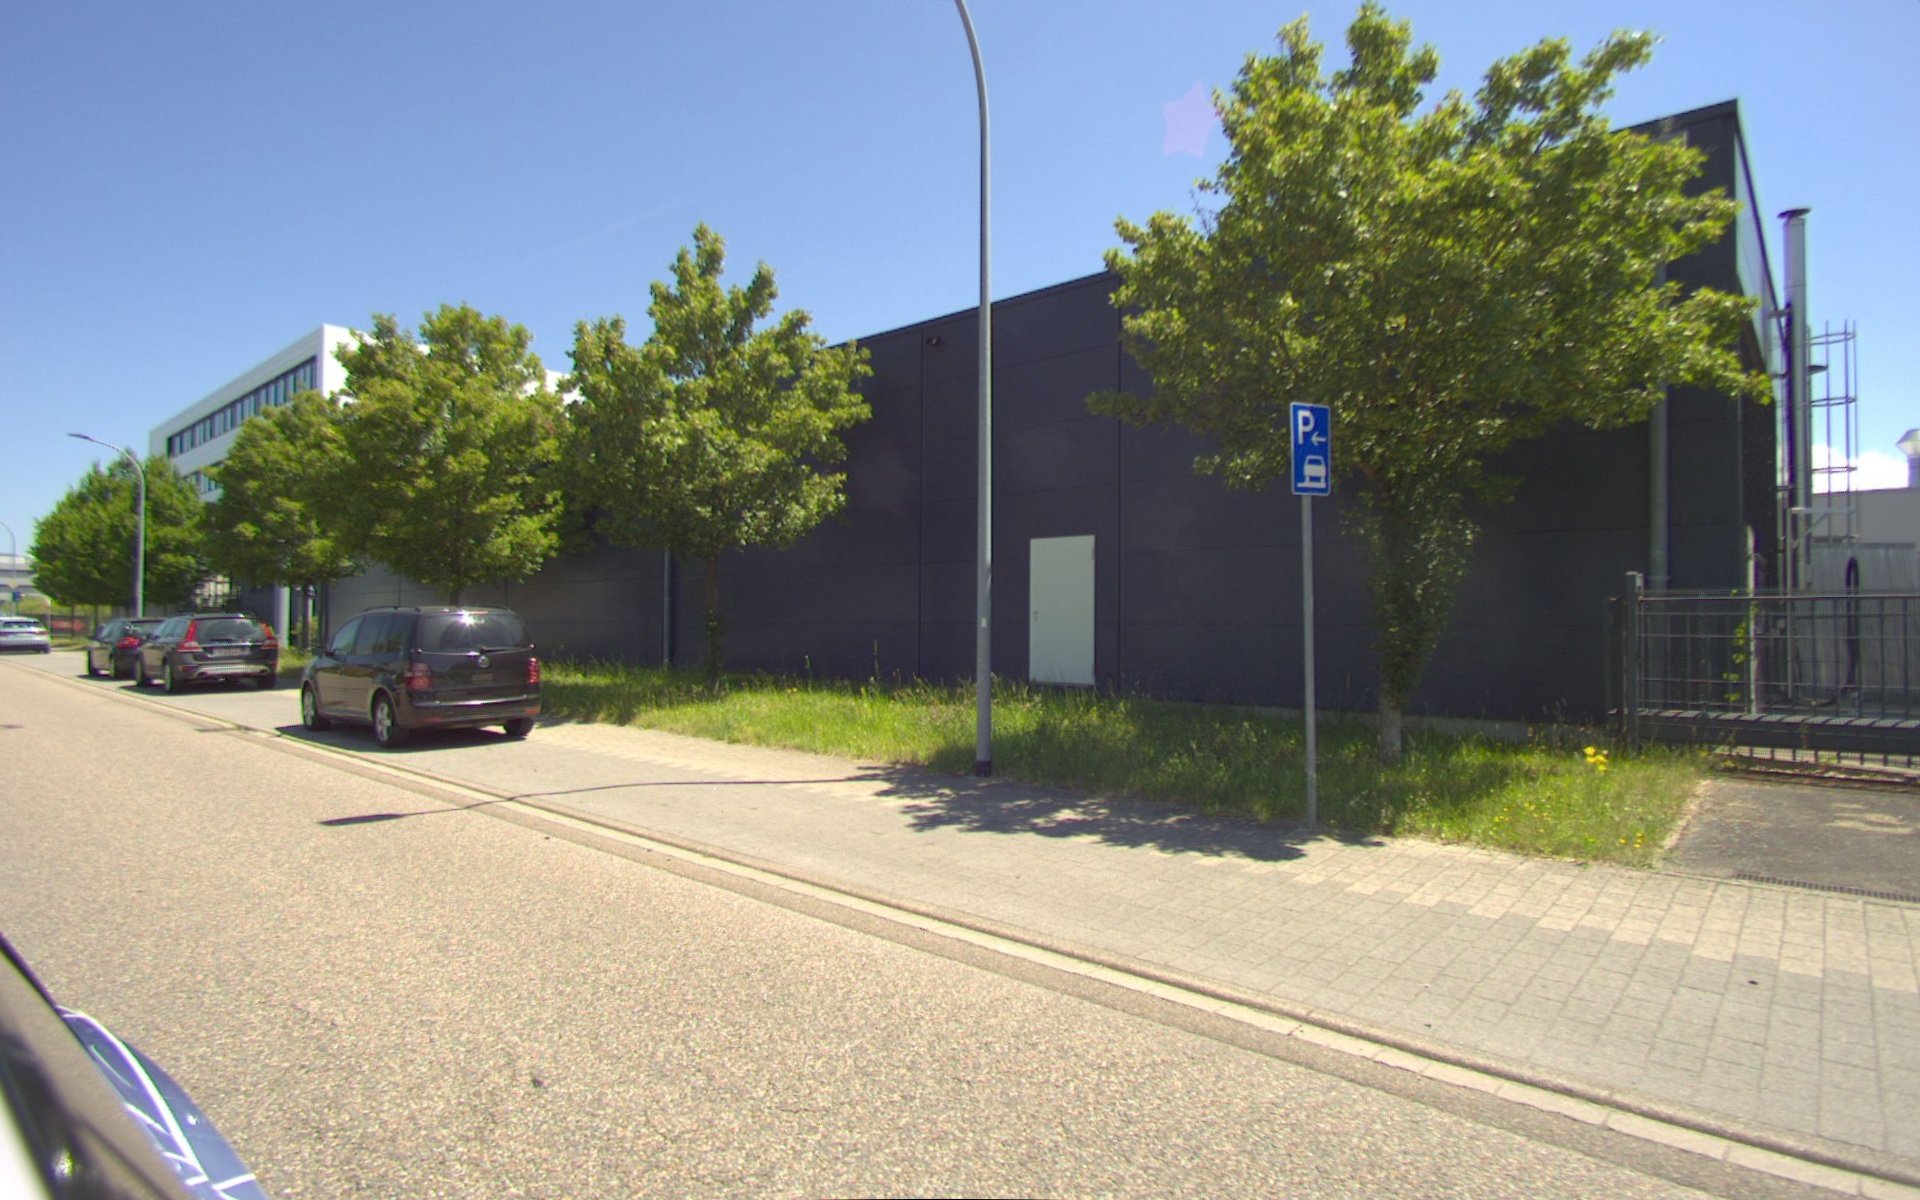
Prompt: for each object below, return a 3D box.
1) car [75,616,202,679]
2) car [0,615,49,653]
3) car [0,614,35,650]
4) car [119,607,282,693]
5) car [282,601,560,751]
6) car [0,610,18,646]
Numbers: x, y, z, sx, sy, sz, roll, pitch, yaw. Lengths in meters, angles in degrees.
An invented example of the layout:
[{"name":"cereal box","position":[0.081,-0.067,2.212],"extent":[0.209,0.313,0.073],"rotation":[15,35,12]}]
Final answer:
[{"name":"car","position":[-20.626,1.124,25.344],"extent":[4.198,1.442,1.752],"rotation":[-1,-1,41]},{"name":"car","position":[-37.701,1.323,40.258],"extent":[3.939,1.442,1.752],"rotation":[-1,-1,42]},{"name":"car","position":[-41.482,1.377,43.730],"extent":[4.200,1.441,1.752],"rotation":[-1,2,42]},{"name":"car","position":[-16.068,0.972,21.314],"extent":[4.849,1.624,1.752],"rotation":[-1,-1,41]},{"name":"car","position":[-7.041,0.859,13.043],"extent":[4.245,1.624,1.752],"rotation":[-1,-1,41]},{"name":"car","position":[-46.551,1.354,48.360],"extent":[4.581,1.635,1.752],"rotation":[-1,2,42]}]
